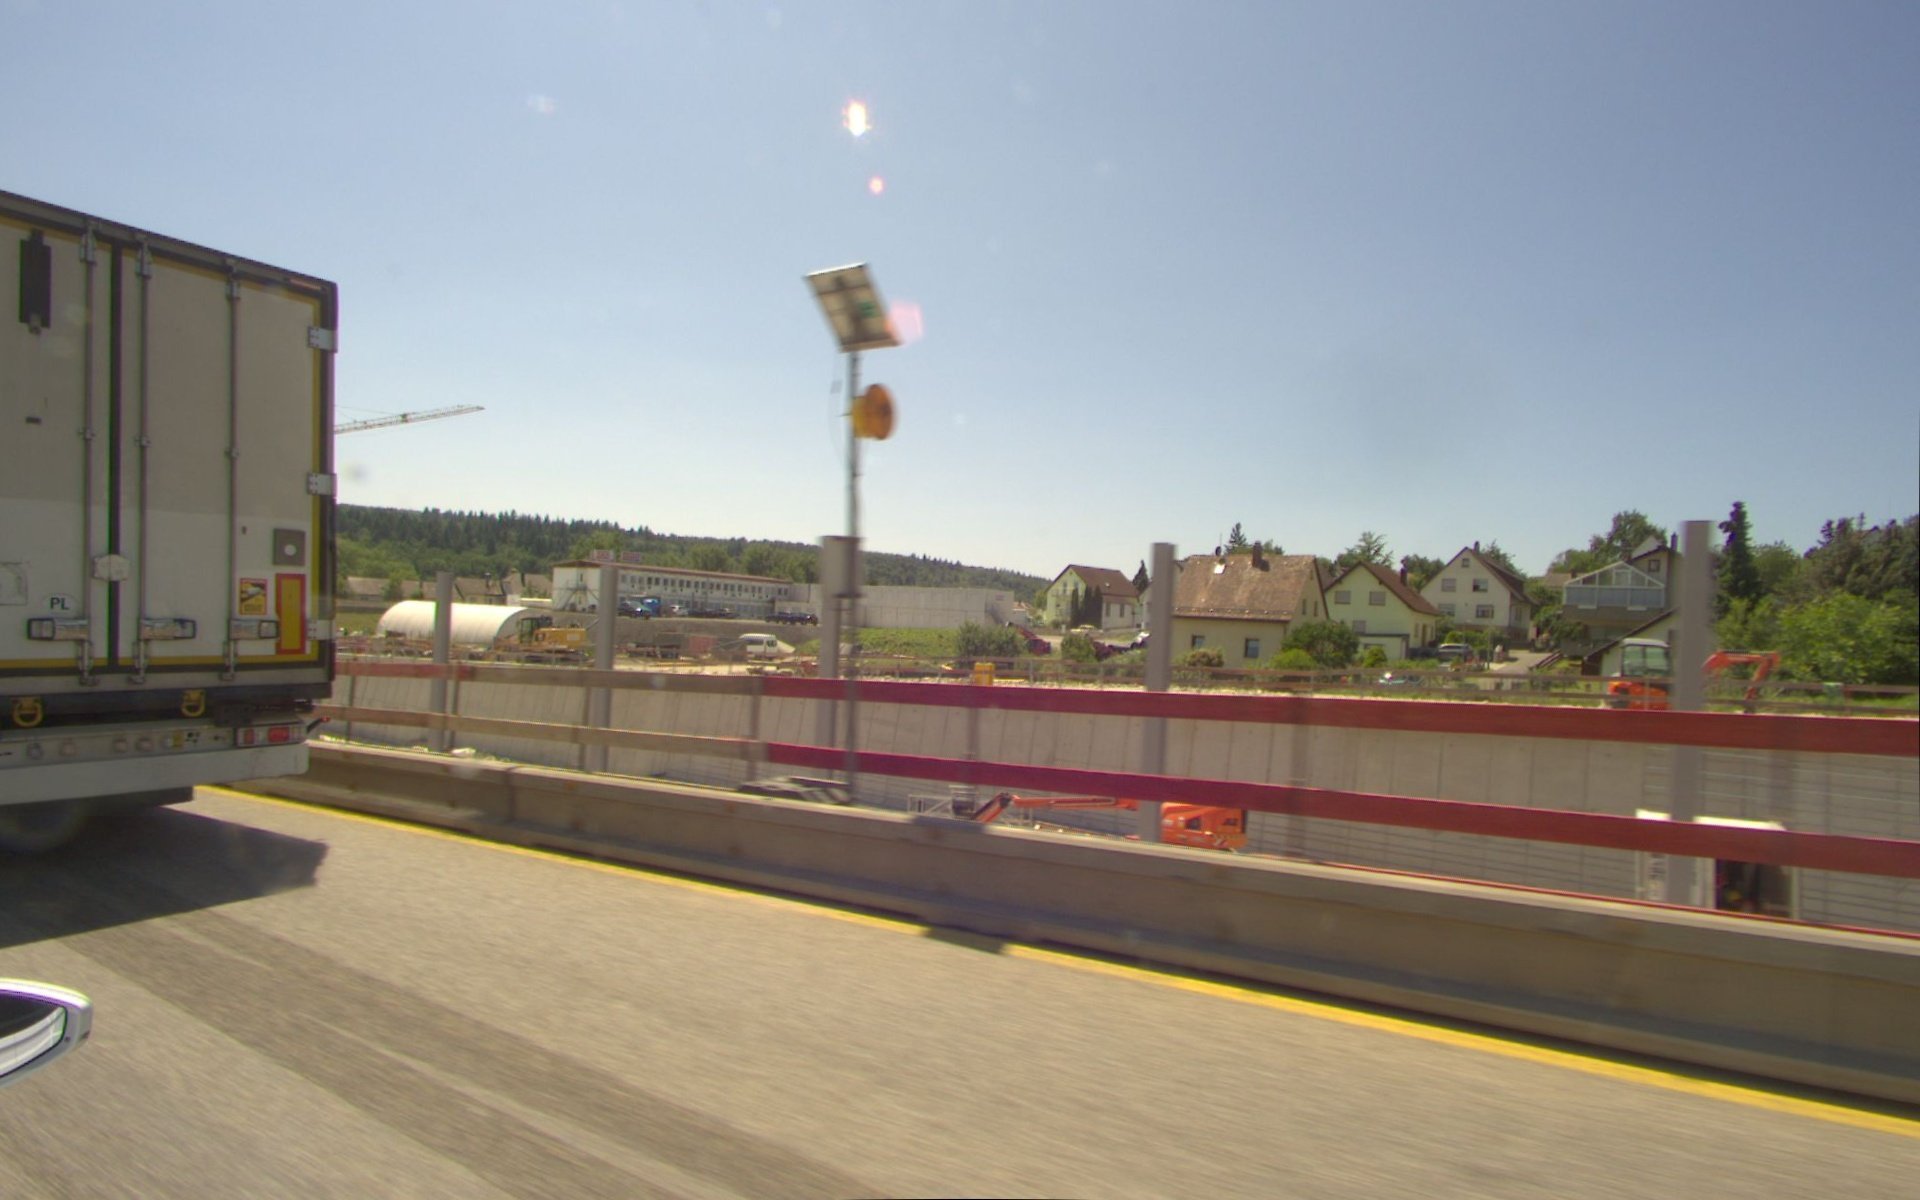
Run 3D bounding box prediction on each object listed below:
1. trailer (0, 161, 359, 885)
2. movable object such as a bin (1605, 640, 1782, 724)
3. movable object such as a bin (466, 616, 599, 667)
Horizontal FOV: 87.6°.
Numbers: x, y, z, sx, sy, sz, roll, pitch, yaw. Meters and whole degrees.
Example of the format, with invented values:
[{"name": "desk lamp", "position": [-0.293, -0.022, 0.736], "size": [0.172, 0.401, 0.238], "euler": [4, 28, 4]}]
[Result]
[{"name": "trailer", "position": [-10.987, -0.323, 9.933], "size": [13.918, 4.110, 2.796], "euler": [-1, -2, 33]}, {"name": "movable object such as a bin", "position": [21.493, 2.350, 29.577], "size": [4.094, 2.267, 1.990], "euler": [-1, -2, 34]}, {"name": "movable object such as a bin", "position": [-26.454, 2.520, 61.700], "size": [9.347, 2.946, 2.882], "euler": [-1, -2, 34]}]
